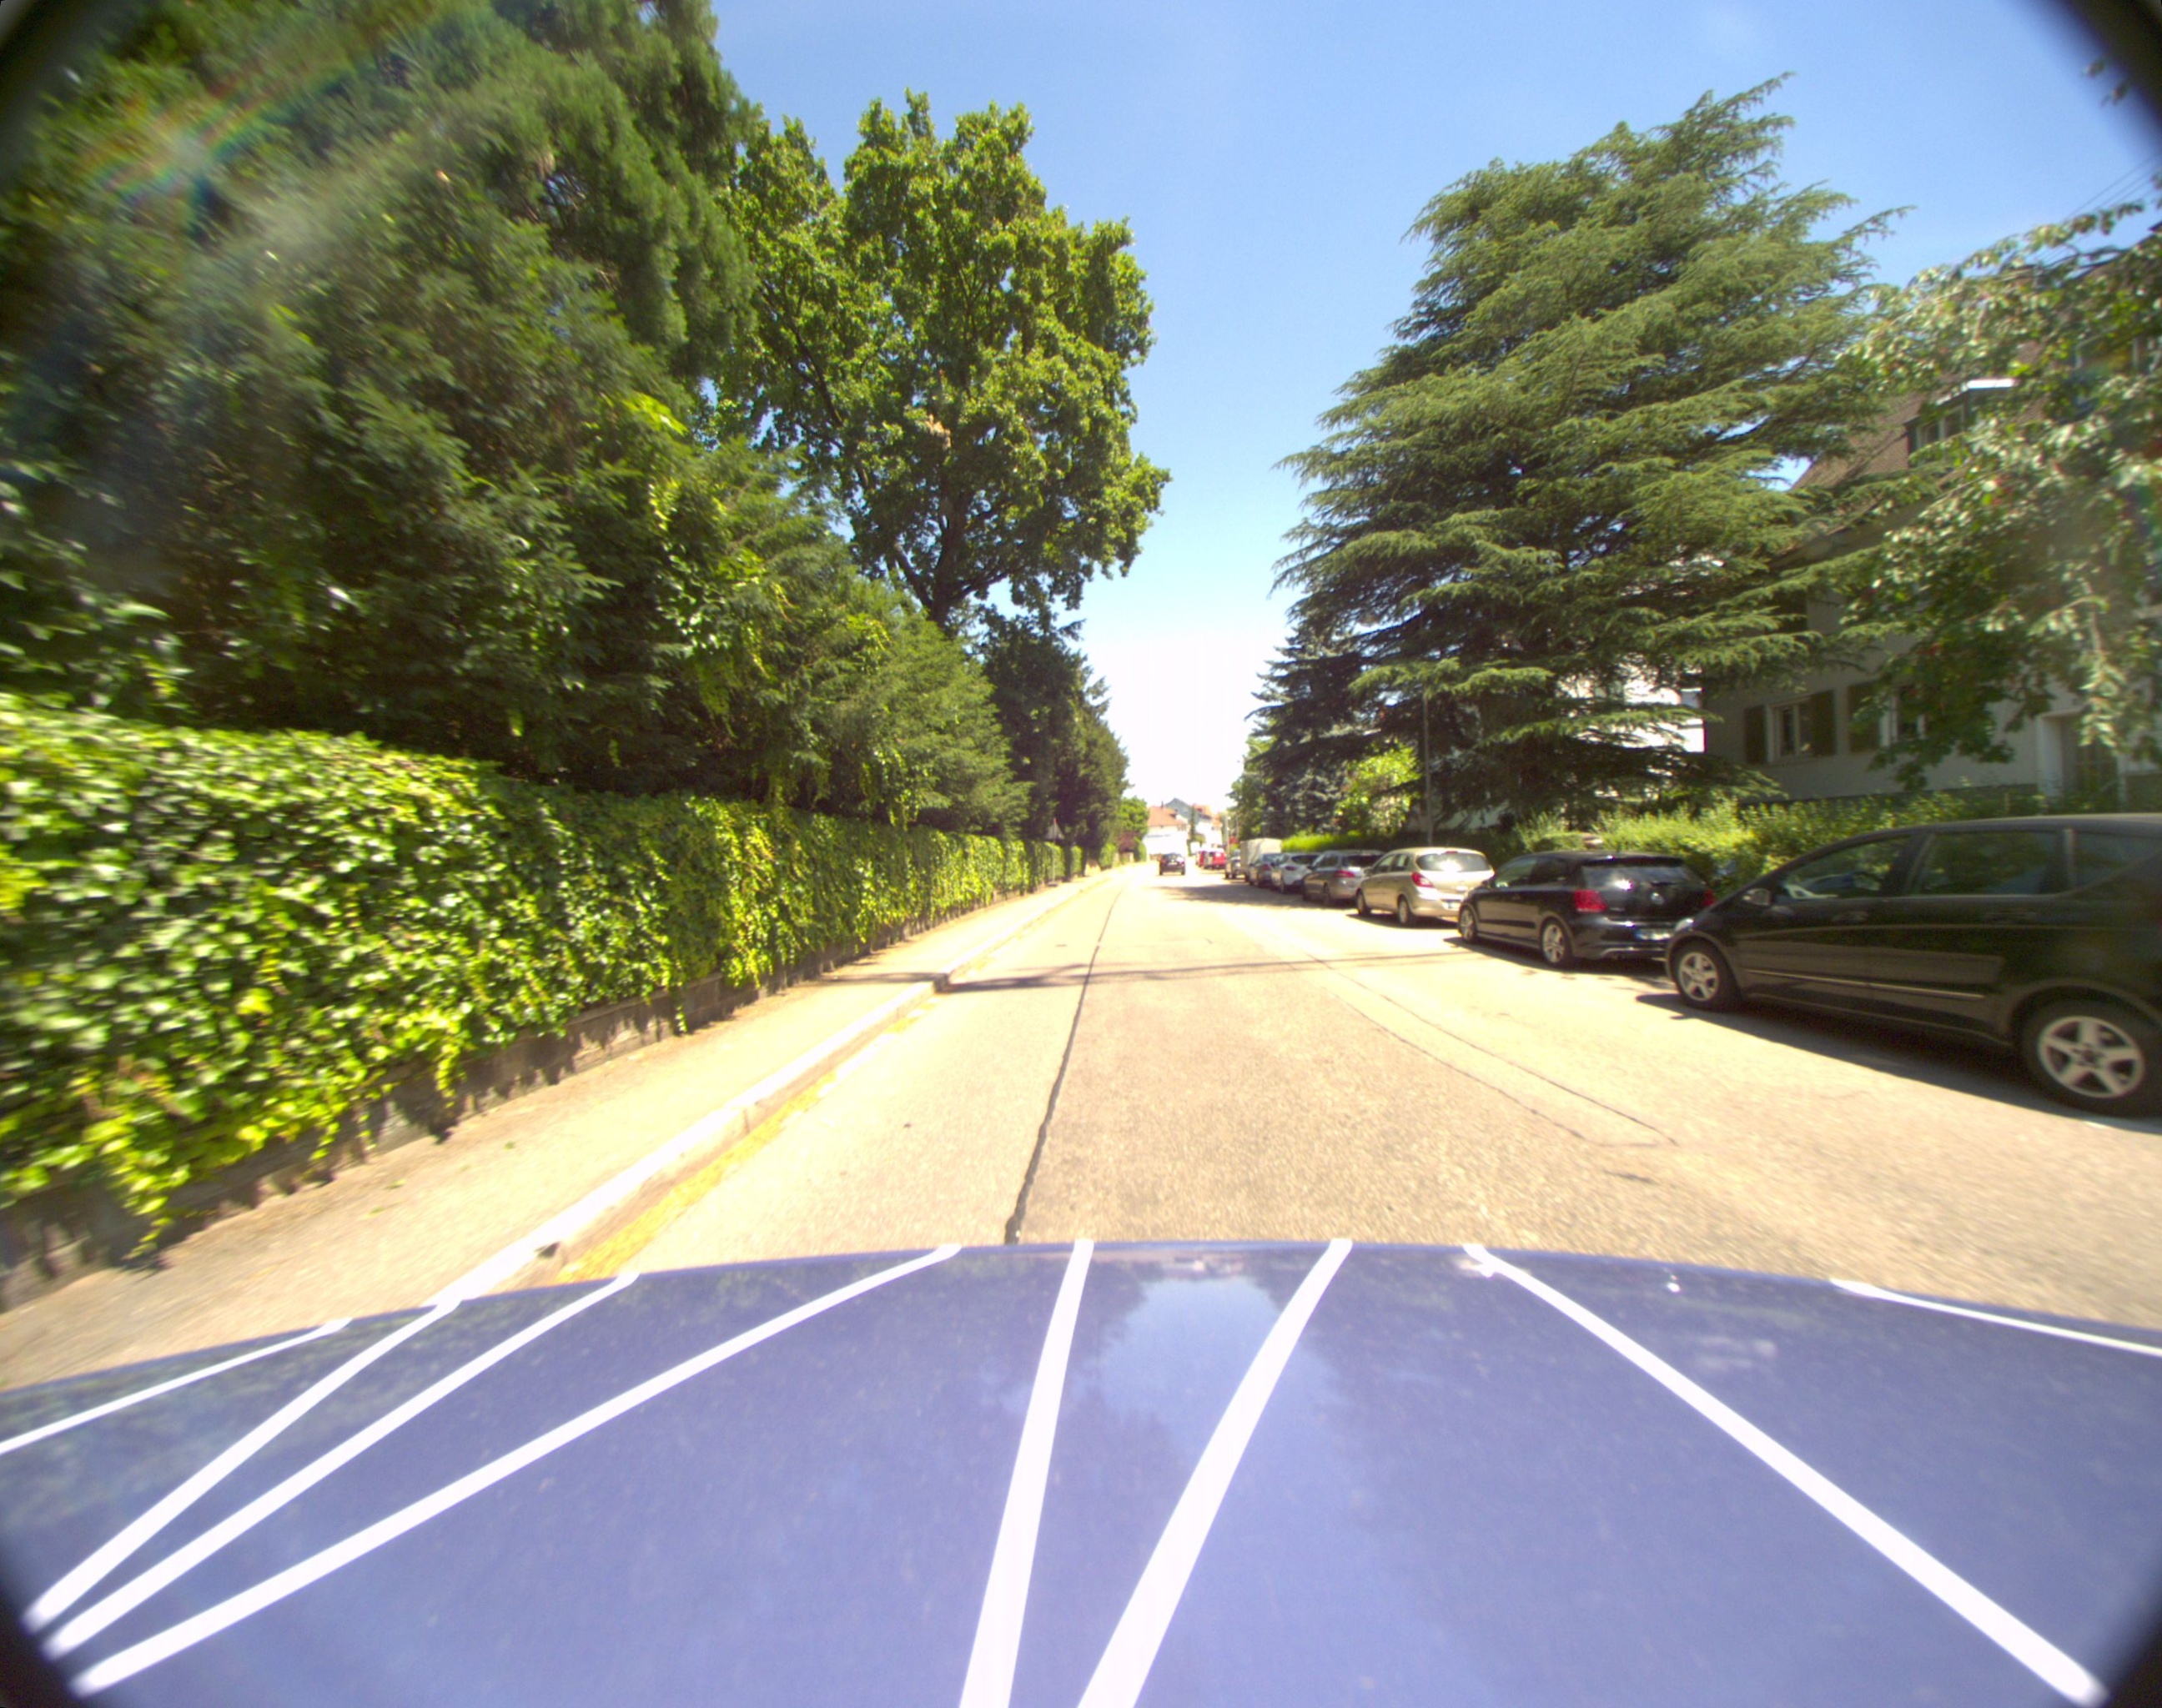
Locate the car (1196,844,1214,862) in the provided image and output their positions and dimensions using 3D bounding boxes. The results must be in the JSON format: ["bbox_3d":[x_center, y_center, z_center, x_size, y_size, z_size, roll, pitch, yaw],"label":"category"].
[{"bbox_3d":[14.461,-0.112,88.771,1.892,2.103,4.001,0,1,7],"label":"car"}]

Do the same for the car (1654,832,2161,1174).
[{"bbox_3d":[6.032,0.689,5.040,1.685,1.630,3.790,-1,0,2],"label":"car"}]

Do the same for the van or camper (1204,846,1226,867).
[{"bbox_3d":[11.566,0.200,65.800,1.583,1.760,3.890,-2,0,7],"label":"van or camper"}]

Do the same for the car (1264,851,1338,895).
[{"bbox_3d":[7.680,0.614,26.893,1.800,1.434,3.898,-1,0,6],"label":"car"}]

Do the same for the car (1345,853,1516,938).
[{"bbox_3d":[6.726,0.728,15.097,1.800,1.434,3.785,-1,0,3],"label":"car"}]

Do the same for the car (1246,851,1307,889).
[{"bbox_3d":[8.082,0.620,31.770,1.800,1.434,4.478,-1,0,6],"label":"car"}]

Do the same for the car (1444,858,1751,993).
[{"bbox_3d":[6.388,0.778,9.978,1.684,1.393,3.791,-1,0,5],"label":"car"}]

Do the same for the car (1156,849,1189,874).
[{"bbox_3d":[6.251,0.479,52.076,1.903,1.565,4.142,-2,0,3],"label":"car"}]

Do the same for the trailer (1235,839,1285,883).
[{"bbox_3d":[8.778,0.313,37.521,1.818,2.021,4.001,0,0,5],"label":"trailer"}]

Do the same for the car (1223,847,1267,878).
[{"bbox_3d":[8.964,0.451,41.785,1.772,1.609,4.550,-1,0,5],"label":"car"}]

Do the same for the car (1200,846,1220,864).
[{"bbox_3d":[12.809,0.086,75.561,1.892,1.749,3.614,0,1,7],"label":"car"}]

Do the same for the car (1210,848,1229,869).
[{"bbox_3d":[11.121,0.339,60.994,1.308,1.568,2.322,-2,0,7],"label":"car"}]

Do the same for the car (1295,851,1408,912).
[{"bbox_3d":[7.101,0.667,20.397,1.800,1.434,4.273,-1,0,5],"label":"car"}]

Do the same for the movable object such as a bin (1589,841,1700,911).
[{"bbox_3d":[10.144,0.380,13.709,1.298,1.192,0.972,-2,0,-12],"label":"movable object such as a bin"}]
